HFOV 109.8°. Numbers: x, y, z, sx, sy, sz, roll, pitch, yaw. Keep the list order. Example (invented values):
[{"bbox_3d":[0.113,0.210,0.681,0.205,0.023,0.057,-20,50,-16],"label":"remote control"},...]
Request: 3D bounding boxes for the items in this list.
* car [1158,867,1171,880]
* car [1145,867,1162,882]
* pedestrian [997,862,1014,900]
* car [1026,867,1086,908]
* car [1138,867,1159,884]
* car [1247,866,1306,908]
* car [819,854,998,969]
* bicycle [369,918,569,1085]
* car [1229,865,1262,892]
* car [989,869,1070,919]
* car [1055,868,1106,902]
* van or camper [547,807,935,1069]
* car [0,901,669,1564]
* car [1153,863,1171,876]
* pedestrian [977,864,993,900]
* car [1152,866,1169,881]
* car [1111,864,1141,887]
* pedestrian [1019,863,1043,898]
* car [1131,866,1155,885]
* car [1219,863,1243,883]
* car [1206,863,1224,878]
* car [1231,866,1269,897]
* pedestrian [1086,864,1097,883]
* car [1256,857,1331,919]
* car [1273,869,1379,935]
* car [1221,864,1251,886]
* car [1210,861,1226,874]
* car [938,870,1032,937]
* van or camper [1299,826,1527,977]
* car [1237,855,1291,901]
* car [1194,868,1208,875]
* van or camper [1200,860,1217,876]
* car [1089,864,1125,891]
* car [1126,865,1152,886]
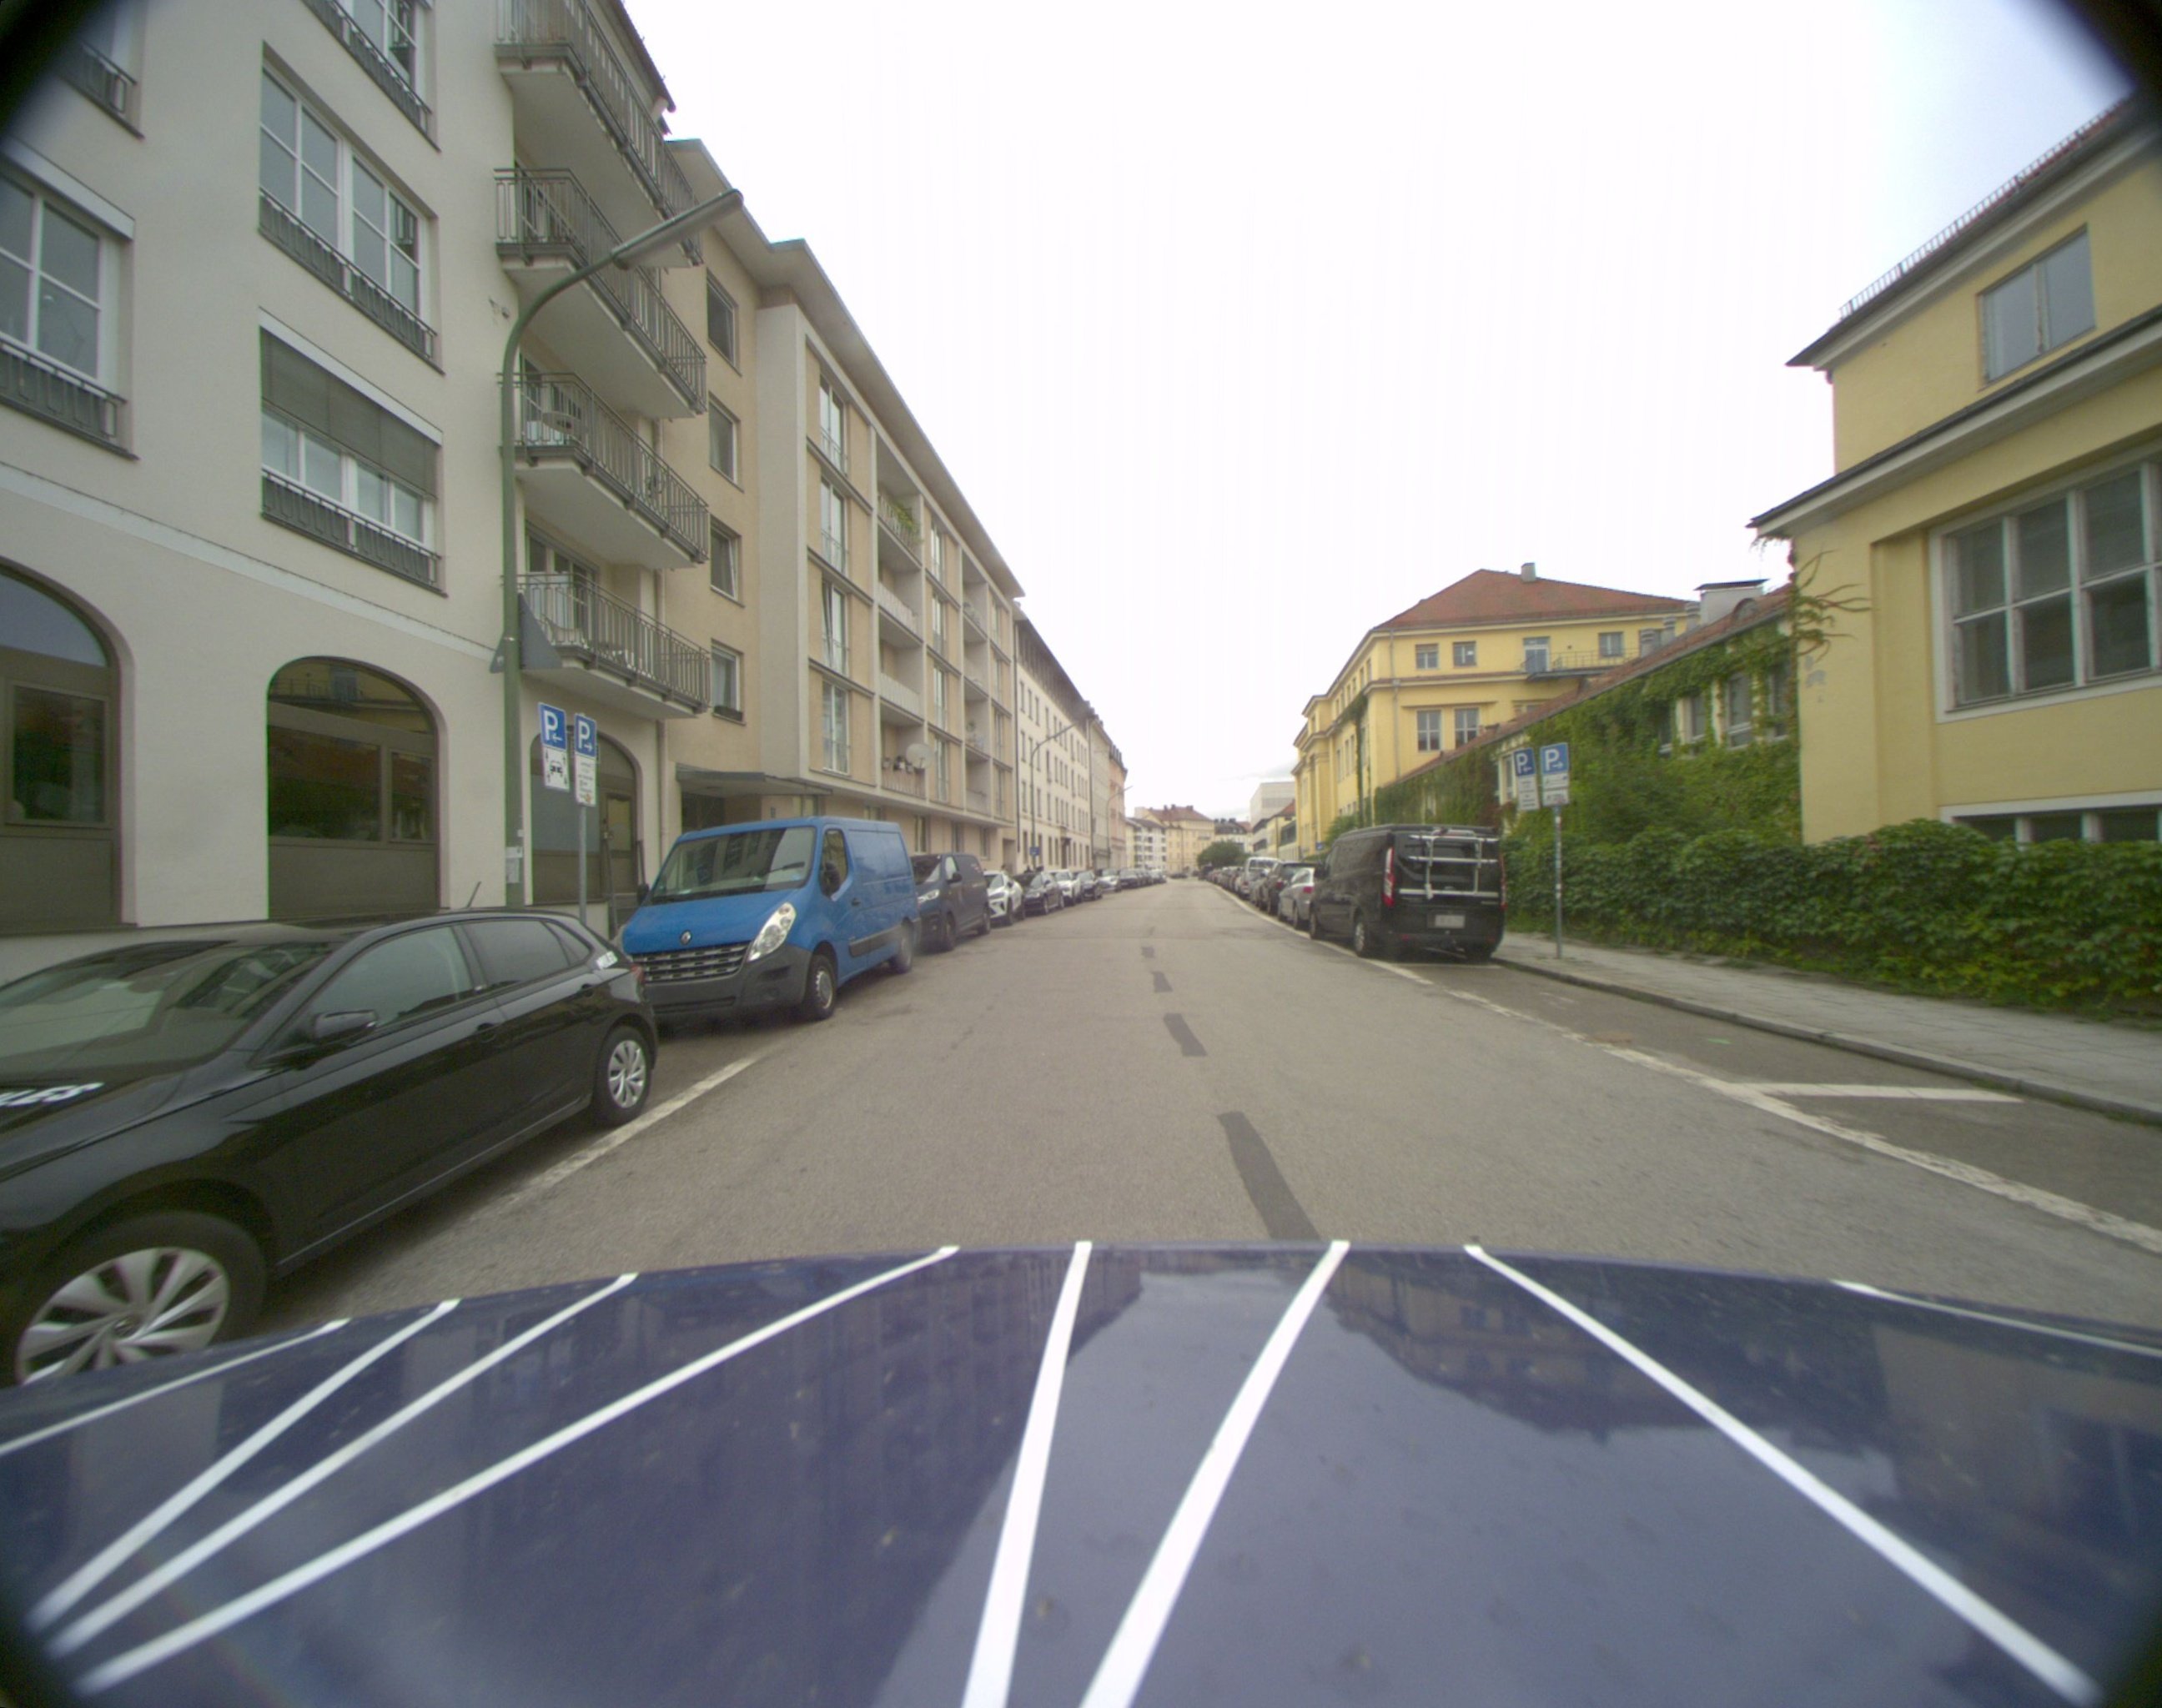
[{"bbox_3d":[11.303,2.610,102.705,1.607,1.632,3.634,-1,-1,7],"label":"car"},{"bbox_3d":[7.711,2.149,80.423,1.695,1.574,4.085,-1,-1,7],"label":"car"},{"bbox_3d":[-3.296,1.186,33.191,0.597,1.644,0.631,-1,0,9],"label":"pedestrian"},{"bbox_3d":[-0.942,1.316,30.888,1.742,1.490,4.222,-1,-1,7],"label":"car"},{"bbox_3d":[6.634,2.069,74.585,1.859,1.535,4.159,-1,-1,8],"label":"car"},{"bbox_3d":[7.292,1.194,28.680,1.704,1.414,4.428,-1,-1,9],"label":"car"},{"bbox_3d":[-3.182,1.003,15.276,1.968,1.805,4.938,-4,-1,5],"label":"car"},{"bbox_3d":[-5.380,1.233,6.815,0.667,1.181,1.588,-1,-1,-9],"label":"bicycle"},{"bbox_3d":[9.581,1.400,44.500,1.581,1.447,3.907,-1,-1,8],"label":"car"},{"bbox_3d":[-1.664,1.307,26.192,1.742,1.490,4.499,-2,-1,9],"label":"car"},{"bbox_3d":[0.028,1.406,35.706,1.799,1.412,4.486,-1,-1,7],"label":"car"},{"bbox_3d":[-3.633,0.798,9.630,2.065,2.217,5.440,-5,-1,3],"label":"van or camper"},{"bbox_3d":[-3.667,1.128,3.142,1.708,1.509,3.958,-5,0,-1],"label":"car"},{"bbox_3d":[9.316,1.757,86.853,1.695,1.442,4.087,-1,-1,11],"label":"car"},{"bbox_3d":[-4.262,1.243,33.743,0.532,1.575,0.560,-1,0,9],"label":"pedestrian"},{"bbox_3d":[10.196,2.503,97.637,1.844,1.775,4.899,-2,-1,9],"label":"car"},{"bbox_3d":[3.398,1.569,56.543,1.859,1.535,4.819,-1,-1,8],"label":"car"},{"bbox_3d":[-2.385,1.278,36.704,0.899,1.677,1.320,0,0,7],"label":"pedestrian"},{"bbox_3d":[5.481,1.867,66.580,1.859,1.535,4.819,-1,-1,8],"label":"car"},{"bbox_3d":[13.360,1.688,67.988,1.683,1.624,4.359,-2,-1,6],"label":"car"},{"bbox_3d":[13.589,1.636,77.391,1.683,1.487,3.989,1,0,9],"label":"car"},{"bbox_3d":[8.761,1.378,39.508,1.581,1.483,3.733,2,0,8],"label":"car"},{"bbox_3d":[0.839,1.597,62.344,0.735,1.616,0.829,-1,0,9],"label":"pedestrian"},{"bbox_3d":[6.463,0.992,23.481,1.623,1.719,4.428,-1,-1,8],"label":"car"},{"bbox_3d":[5.728,1.067,18.229,1.623,1.370,4.074,-1,-1,7],"label":"car"},{"bbox_3d":[11.312,1.530,55.804,1.785,1.529,4.198,-2,-1,7],"label":"car"},{"bbox_3d":[17.199,1.703,95.708,1.678,1.557,3.999,-1,-1,7],"label":"car"},{"bbox_3d":[-2.527,1.268,21.020,1.743,1.528,4.275,-4,-1,3],"label":"car"},{"bbox_3d":[5.324,0.696,13.003,1.965,2.053,4.755,1,-1,3],"label":"van or camper"},{"bbox_3d":[8.097,1.036,34.005,1.997,1.864,4.762,-1,-1,10],"label":"car"},{"bbox_3d":[35.178,5.175,222.686,3.994,1.848,2.002,0,-1,9],"label":"car"},{"bbox_3d":[22.079,2.423,131.707,2.140,2.791,5.574,0,-1,1],"label":"van or camper"},{"bbox_3d":[1.657,1.440,47.068,1.674,1.525,3.884,-2,-1,9],"label":"car"},{"bbox_3d":[4.747,1.713,61.761,1.859,1.535,4.159,-1,-1,8],"label":"car"}]
